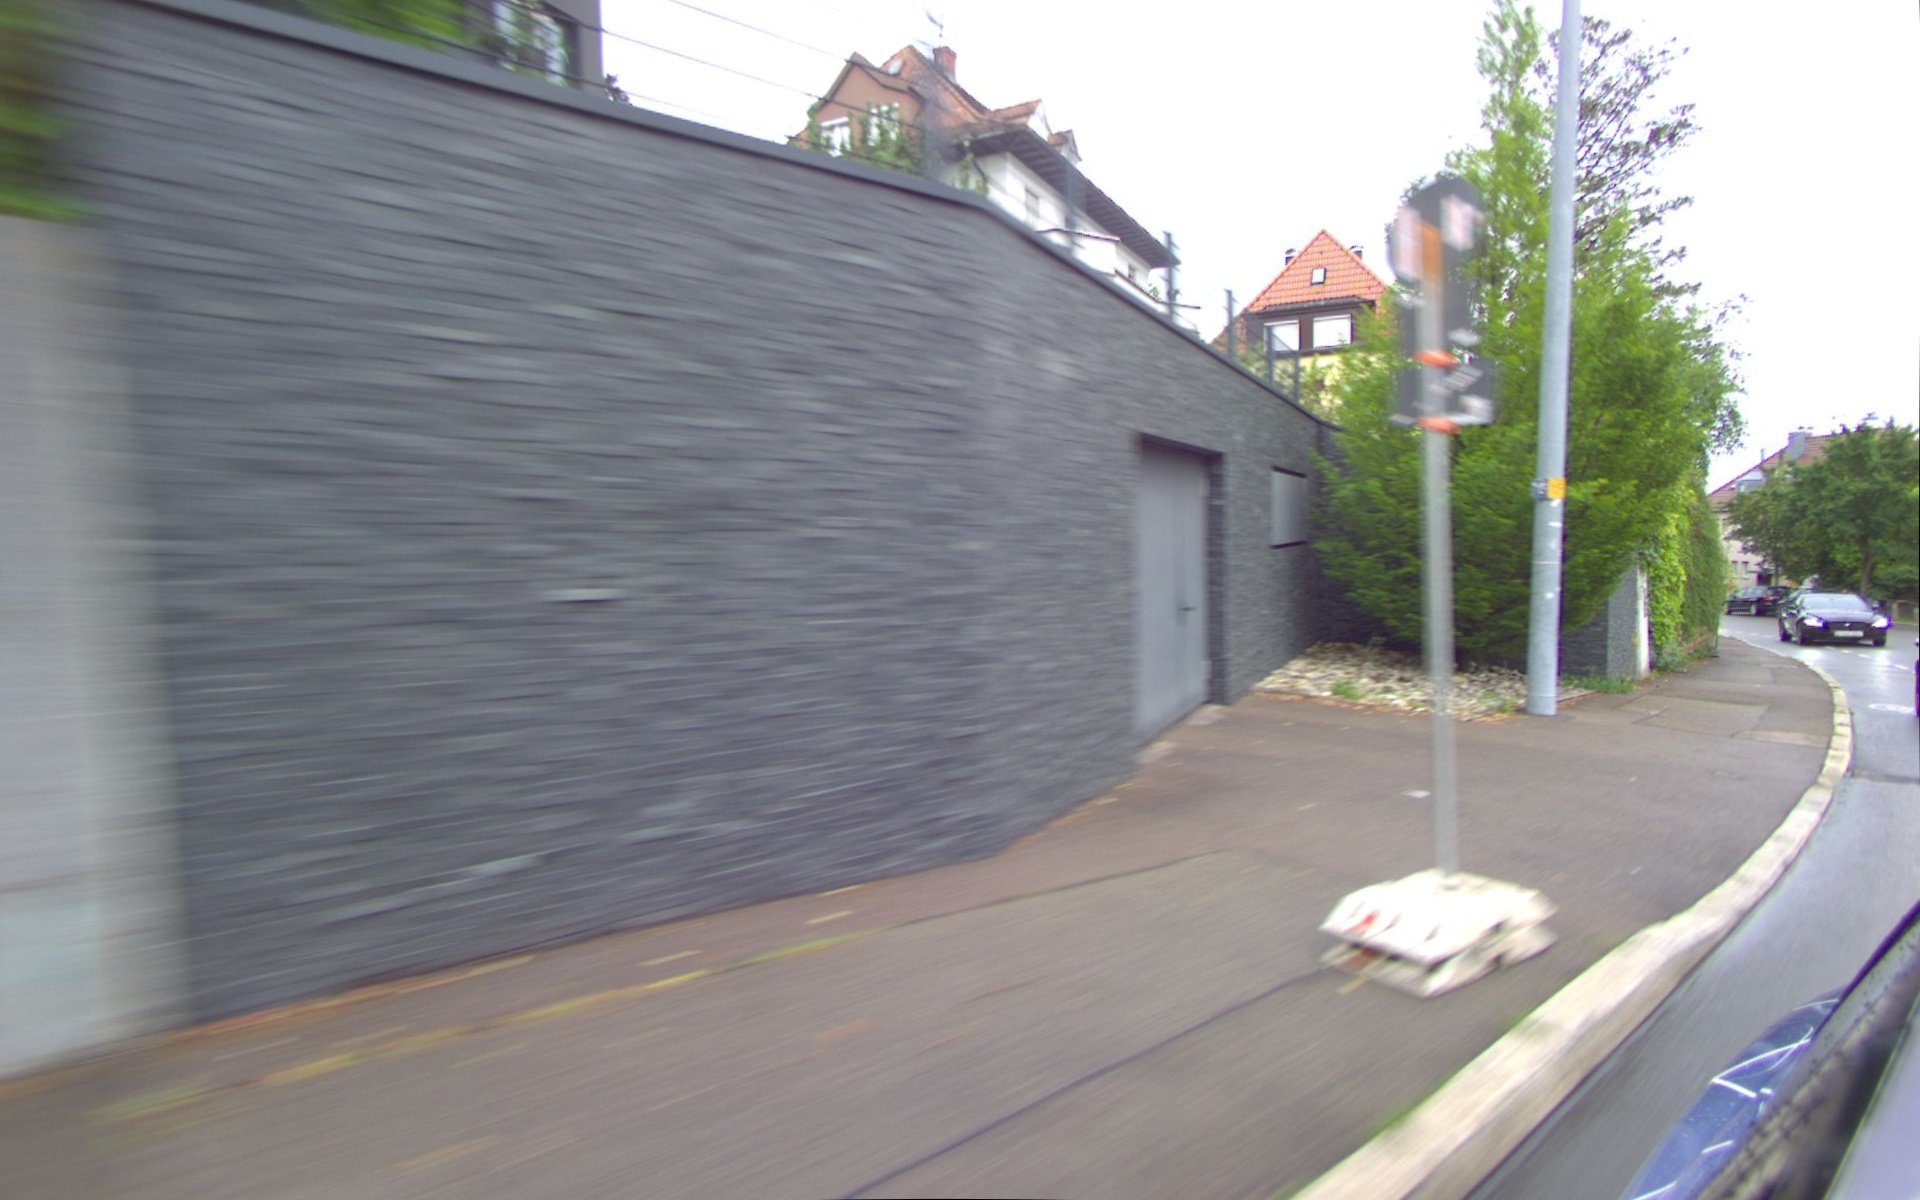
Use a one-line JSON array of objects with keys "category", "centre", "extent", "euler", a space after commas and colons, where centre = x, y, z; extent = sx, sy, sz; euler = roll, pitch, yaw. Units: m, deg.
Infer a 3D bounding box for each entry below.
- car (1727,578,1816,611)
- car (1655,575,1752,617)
[{"category": "car", "centre": [40.681, -0.300, 50.869], "extent": [1.712, 1.502, 4.511], "euler": [-2, 1, 14]}, {"category": "car", "centre": [33.486, -0.208, 45.742], "extent": [1.990, 1.760, 4.578], "euler": [-1, 1, 15]}]
